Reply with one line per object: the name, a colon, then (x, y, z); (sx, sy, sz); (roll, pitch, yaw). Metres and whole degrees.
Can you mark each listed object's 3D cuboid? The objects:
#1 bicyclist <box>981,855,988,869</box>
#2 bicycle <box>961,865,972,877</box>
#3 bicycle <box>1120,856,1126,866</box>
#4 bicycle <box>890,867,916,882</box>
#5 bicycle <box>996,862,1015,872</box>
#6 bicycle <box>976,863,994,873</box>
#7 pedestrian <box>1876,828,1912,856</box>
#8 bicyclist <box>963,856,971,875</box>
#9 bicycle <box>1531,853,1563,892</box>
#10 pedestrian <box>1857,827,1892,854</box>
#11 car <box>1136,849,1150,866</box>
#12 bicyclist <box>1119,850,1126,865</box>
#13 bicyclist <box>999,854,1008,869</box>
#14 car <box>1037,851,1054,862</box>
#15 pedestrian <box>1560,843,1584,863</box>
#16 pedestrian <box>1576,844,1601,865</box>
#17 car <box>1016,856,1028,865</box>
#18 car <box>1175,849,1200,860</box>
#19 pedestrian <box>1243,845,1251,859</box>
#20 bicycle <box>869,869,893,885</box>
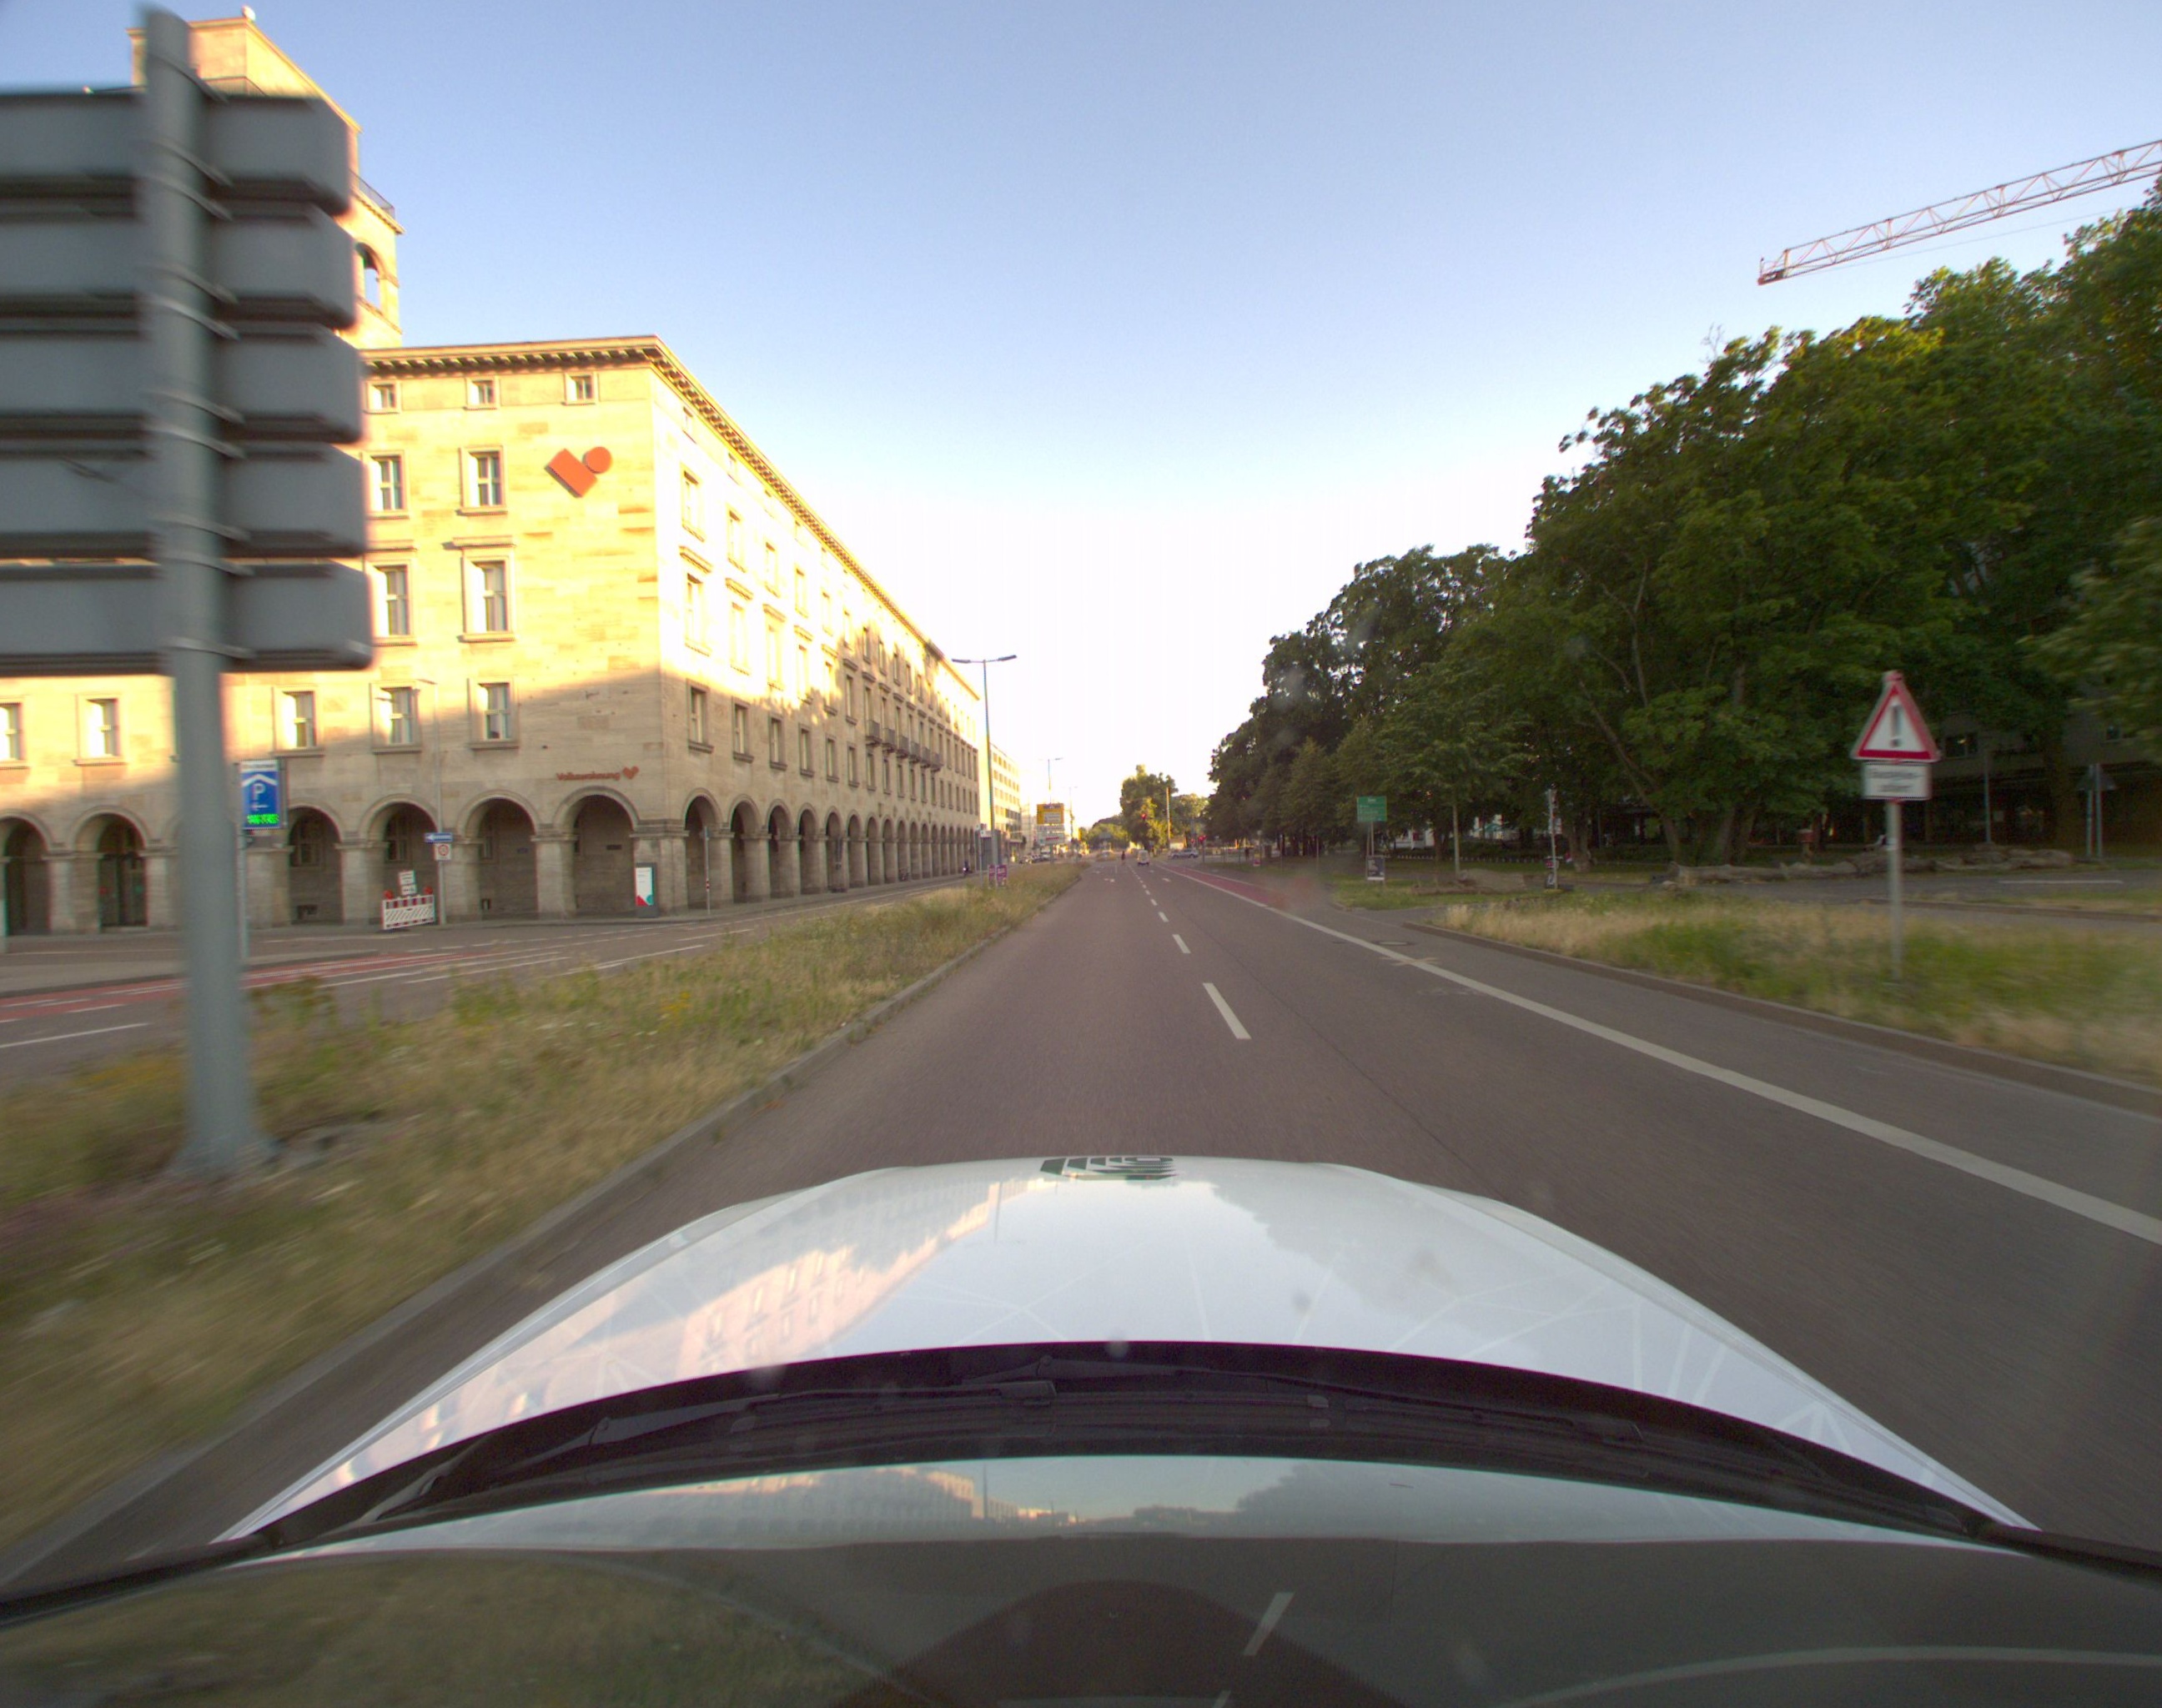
bicyclist: (-11.501, 0.926, 97.283); (0.746, 1.693, 0.712); (-2, 0, -11)
bicycle: (-10.275, 1.502, 73.080); (0.539, 1.005, 2.006); (-2, 0, 2)
bicycle: (4.773, 0.781, 93.052); (0.635, 1.069, 2.070); (-1, 0, 2)
bicycle: (-13.382, 1.541, 61.208); (0.472, 1.005, 2.018); (-2, 0, 38)
bicycle: (-9.129, 1.538, 98.346); (2.041, 1.069, 0.791); (-2, 0, 19)
bicycle: (-11.444, 1.678, 97.269); (2.017, 1.069, 0.727); (-2, 0, -13)
pedestrian: (35.996, -0.524, 36.066); (0.784, 1.164, 0.766); (-2, 0, -4)
bicyclist: (-10.284, 1.052, 73.352); (0.534, 1.693, 0.749); (-2, 0, 1)
bicycle: (13.547, 0.530, 23.713); (0.490, 1.005, 1.909); (-5, 0, 22)
pedestrian: (35.945, -0.603, 36.885); (0.784, 1.164, 0.766); (-2, 0, -4)
car: (7.060, 0.361, 92.407); (1.452, 1.780, 2.568); (-2, 1, 5)
bicyclist: (4.735, 0.360, 92.738); (0.626, 1.693, 0.749); (-2, 0, 1)
bicyclist: (-9.366, 0.889, 98.423); (0.740, 1.693, 0.769); (-3, 0, 20)
car: (-7.918, 0.598, 182.266); (2.161, 2.385, 6.011); (-3, -2, 14)
pedestrian: (21.752, -0.043, 36.065); (0.682, 0.884, 0.588); (-2, 0, -23)
pedestrian: (22.062, 0.016, 35.427); (0.682, 0.884, 0.619); (-2, 0, -22)
car: (-10.953, 1.302, 151.735); (1.789, 1.475, 4.001); (-2, -2, 2)
car: (17.005, 0.047, 130.130); (3.968, 1.574, 2.003); (-2, 0, 5)
pedestrian: (19.350, -0.241, 94.998); (0.692, 1.693, 0.749); (-2, 0, 1)
bicycle: (-13.791, 1.556, 56.176); (0.473, 1.005, 2.015); (-2, 0, 21)
